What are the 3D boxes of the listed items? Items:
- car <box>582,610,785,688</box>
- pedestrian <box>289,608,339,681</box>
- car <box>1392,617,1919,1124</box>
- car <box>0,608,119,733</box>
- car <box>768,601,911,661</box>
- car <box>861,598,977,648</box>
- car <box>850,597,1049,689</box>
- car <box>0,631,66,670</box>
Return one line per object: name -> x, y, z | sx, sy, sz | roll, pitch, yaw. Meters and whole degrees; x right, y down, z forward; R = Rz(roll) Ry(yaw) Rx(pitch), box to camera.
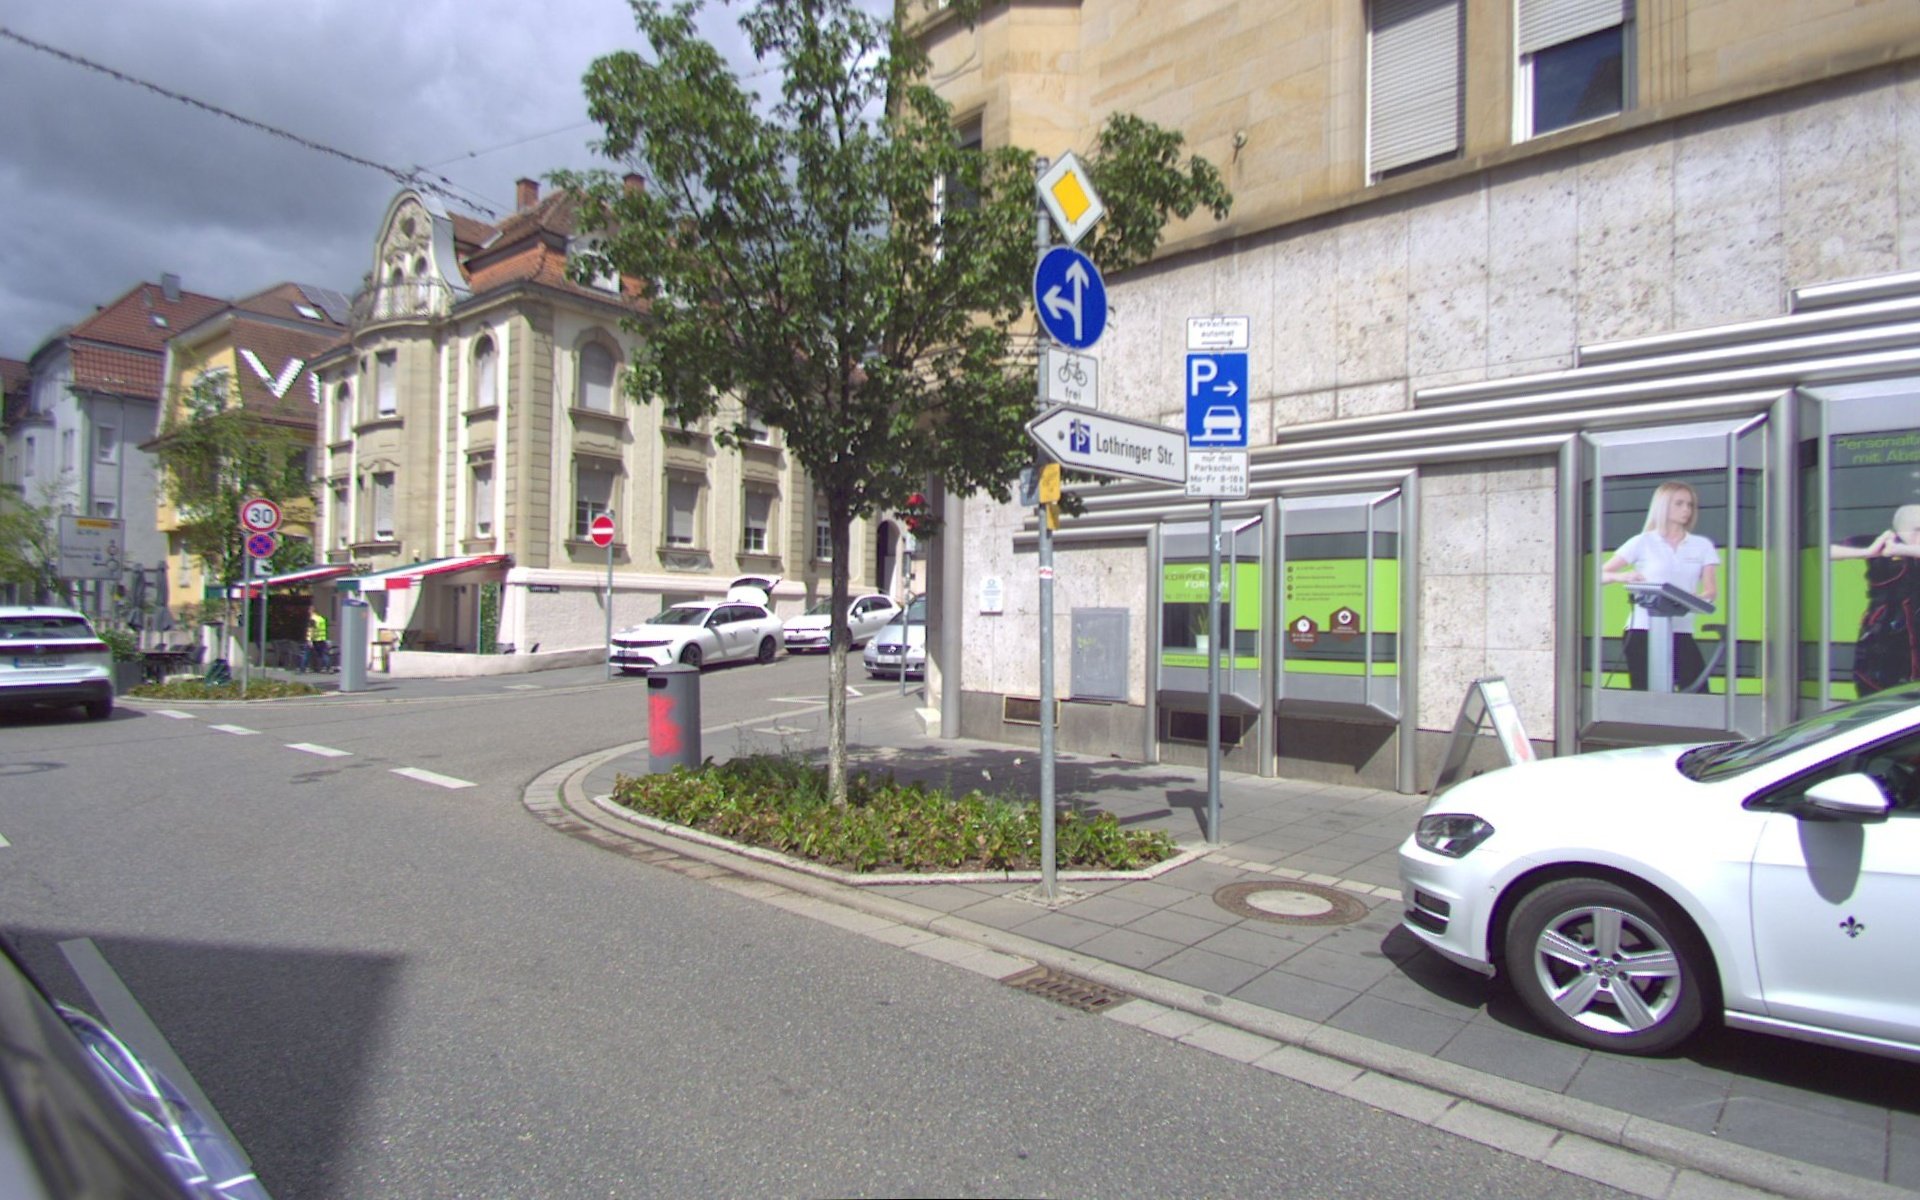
car -> -5.838, 0.985, 21.986 | 1.987, 1.391, 4.354 | -1, 1, 23
pedestrian -> -16.204, 1.103, 25.405 | 0.810, 1.770, 0.792 | -1, 0, 33
car -> 3.762, 0.789, 3.228 | 4.035, 1.408, 1.826 | 0, 0, 41
car -> -14.076, 0.951, 15.018 | 4.113, 1.652, 1.769 | 0, 0, 40
car -> -3.122, 0.774, 27.084 | 1.822, 1.391, 4.196 | -1, 1, 26
car -> -1.199, 0.662, 31.530 | 1.822, 1.391, 4.196 | -1, 1, 26
car -> -0.096, 0.769, 20.332 | 1.995, 1.573, 4.170 | -1, 1, 34
car -> -33.684, 1.798, 36.079 | 4.455, 1.314, 1.702 | -2, -3, 35
